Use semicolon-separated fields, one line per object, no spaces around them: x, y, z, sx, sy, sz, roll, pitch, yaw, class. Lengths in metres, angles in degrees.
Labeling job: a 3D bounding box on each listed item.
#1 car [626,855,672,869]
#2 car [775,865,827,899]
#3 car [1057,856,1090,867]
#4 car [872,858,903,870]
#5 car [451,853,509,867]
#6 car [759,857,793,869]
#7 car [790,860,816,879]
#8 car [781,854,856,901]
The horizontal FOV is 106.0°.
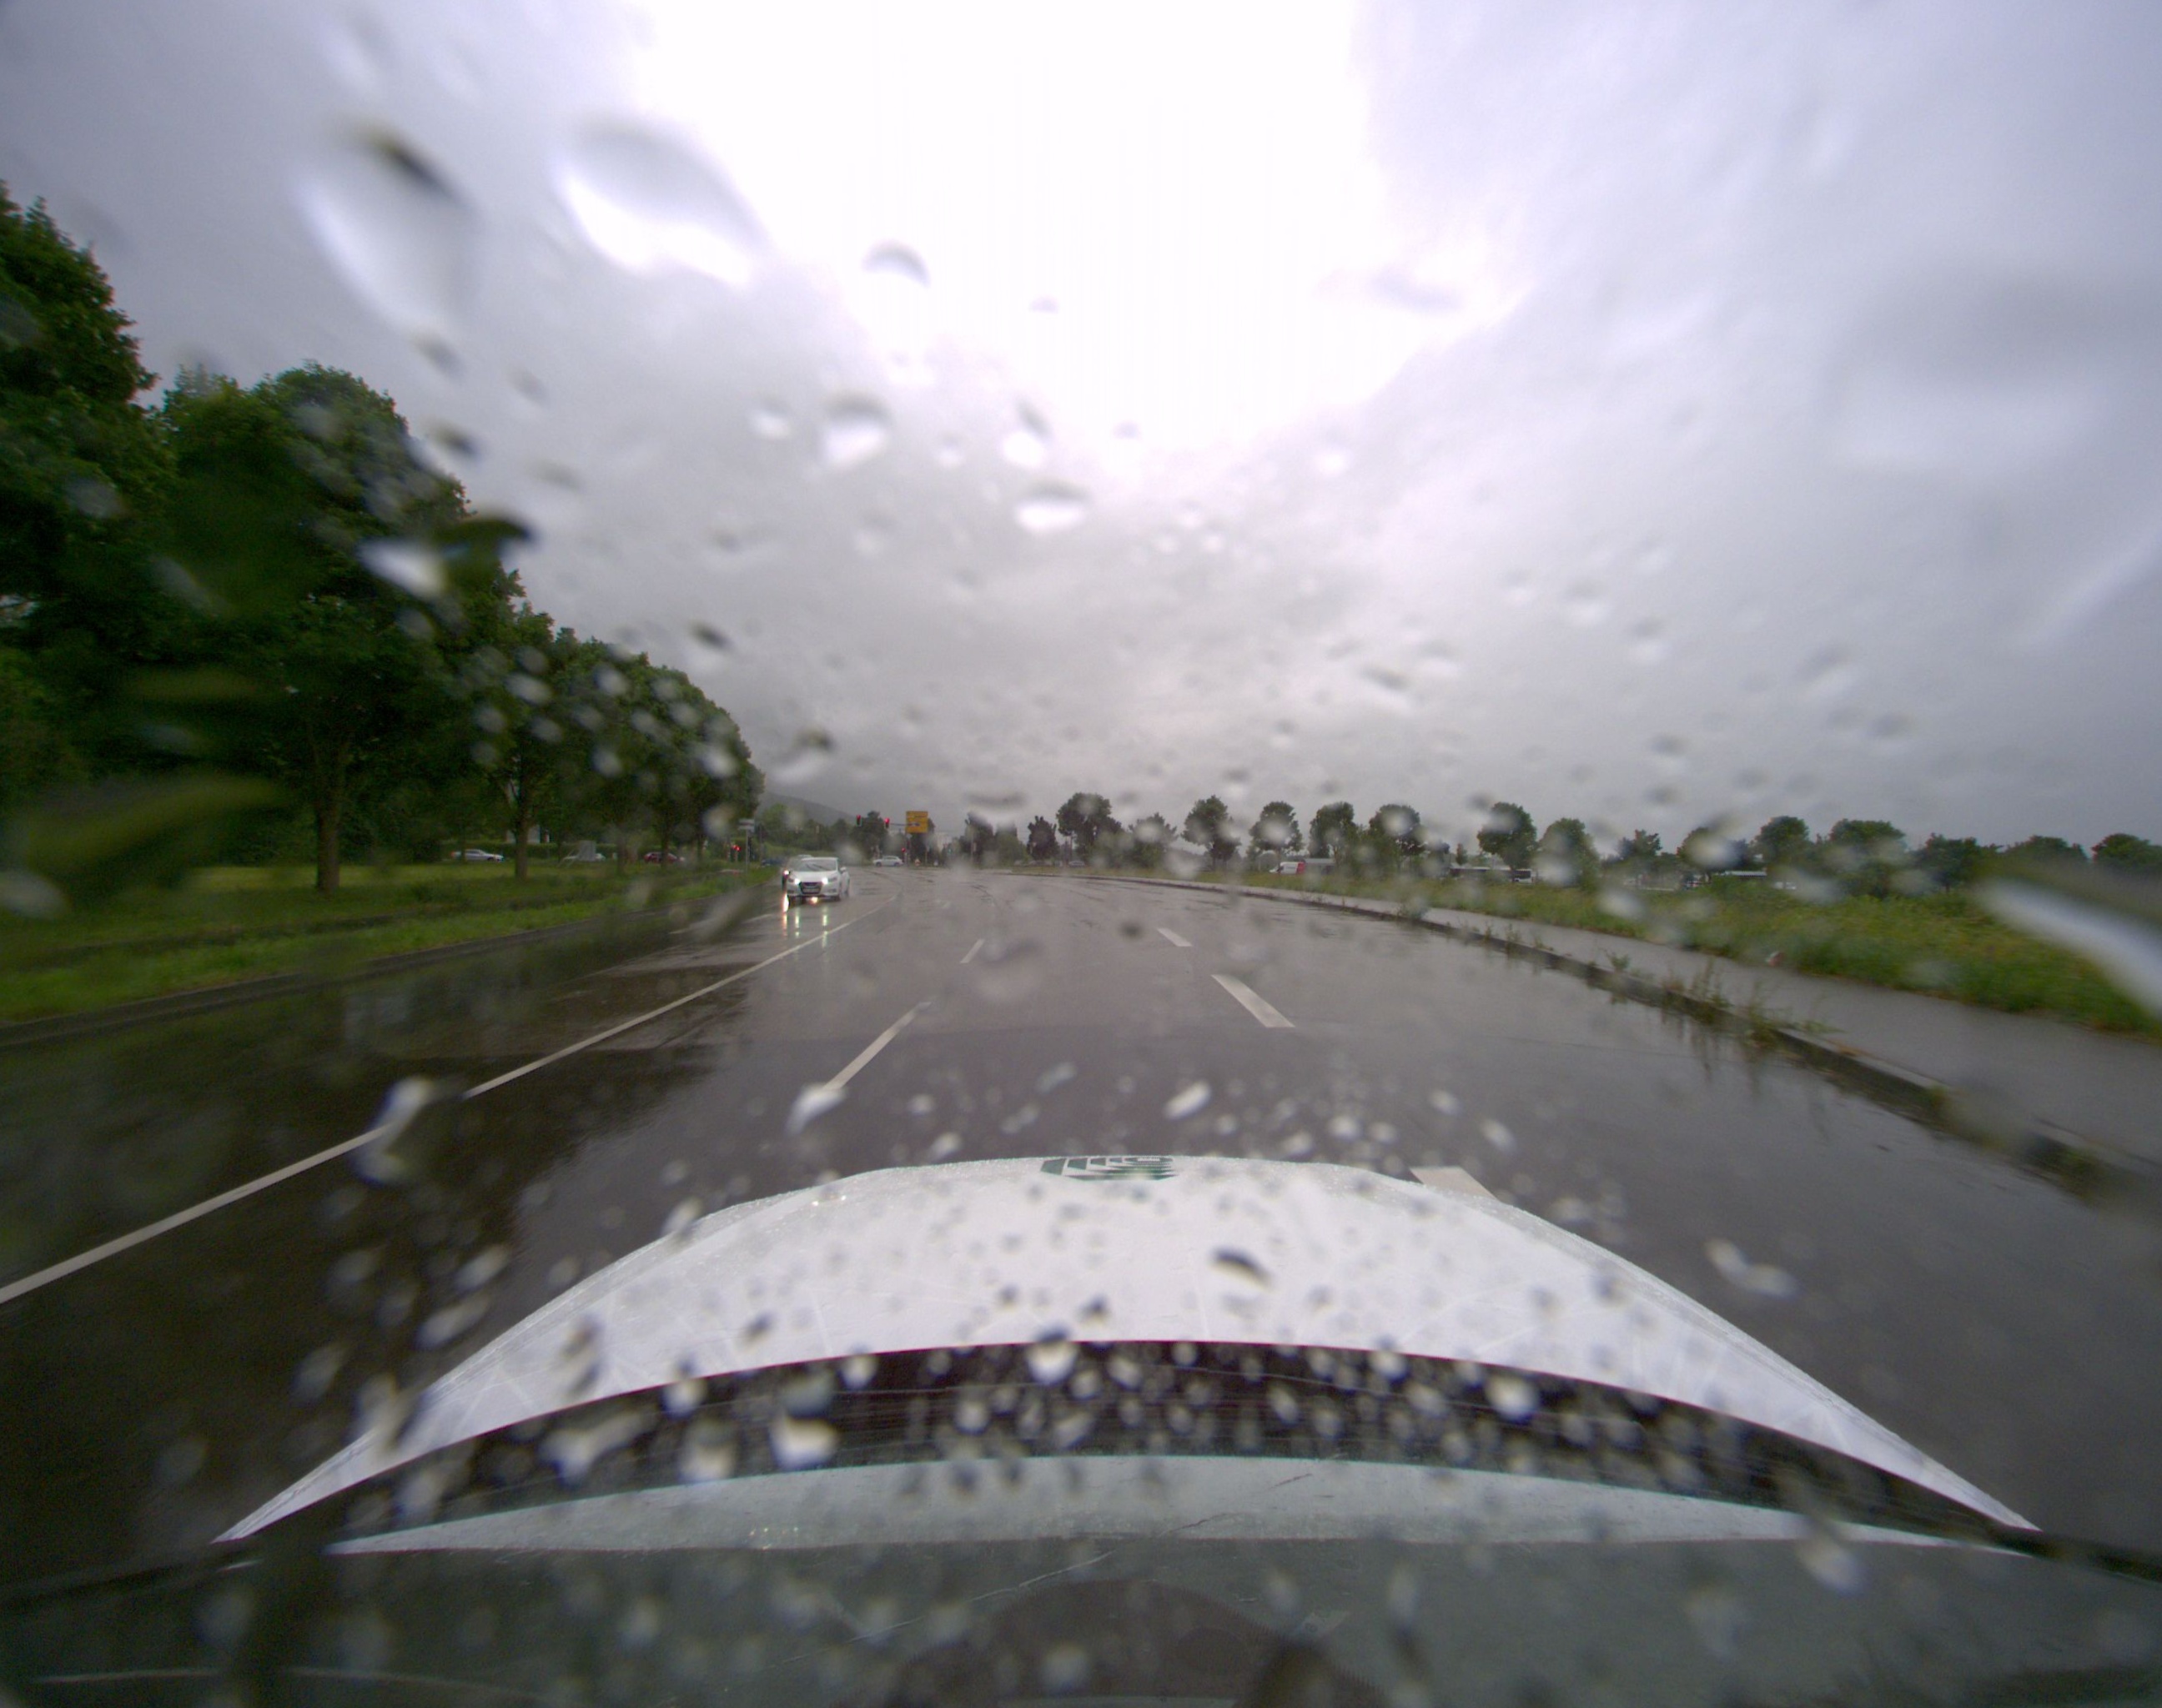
-51.012;0.896;96.209;4.380;1.579;1.725;1;-1;-13;car
-14.249;1.376;41.688;1.885;1.587;4.103;2;-1;-11;car
-1.134;1.185;124.830;4.681;1.639;1.812;1;-1;-17;car
-28.045;1.427;118.297;4.380;1.579;1.725;1;-1;-13;car
-67.453;0.675;91.469;4.890;1.553;1.790;1;0;-15;car
-42.768;1.244;114.255;4.240;1.579;1.725;1;-1;-13;car
-24.590;1.328;72.091;1.883;1.573;4.619;-1;0;-16;car
-9.007;0.767;28.267;1.738;1.487;4.000;-1;0;-7;car
